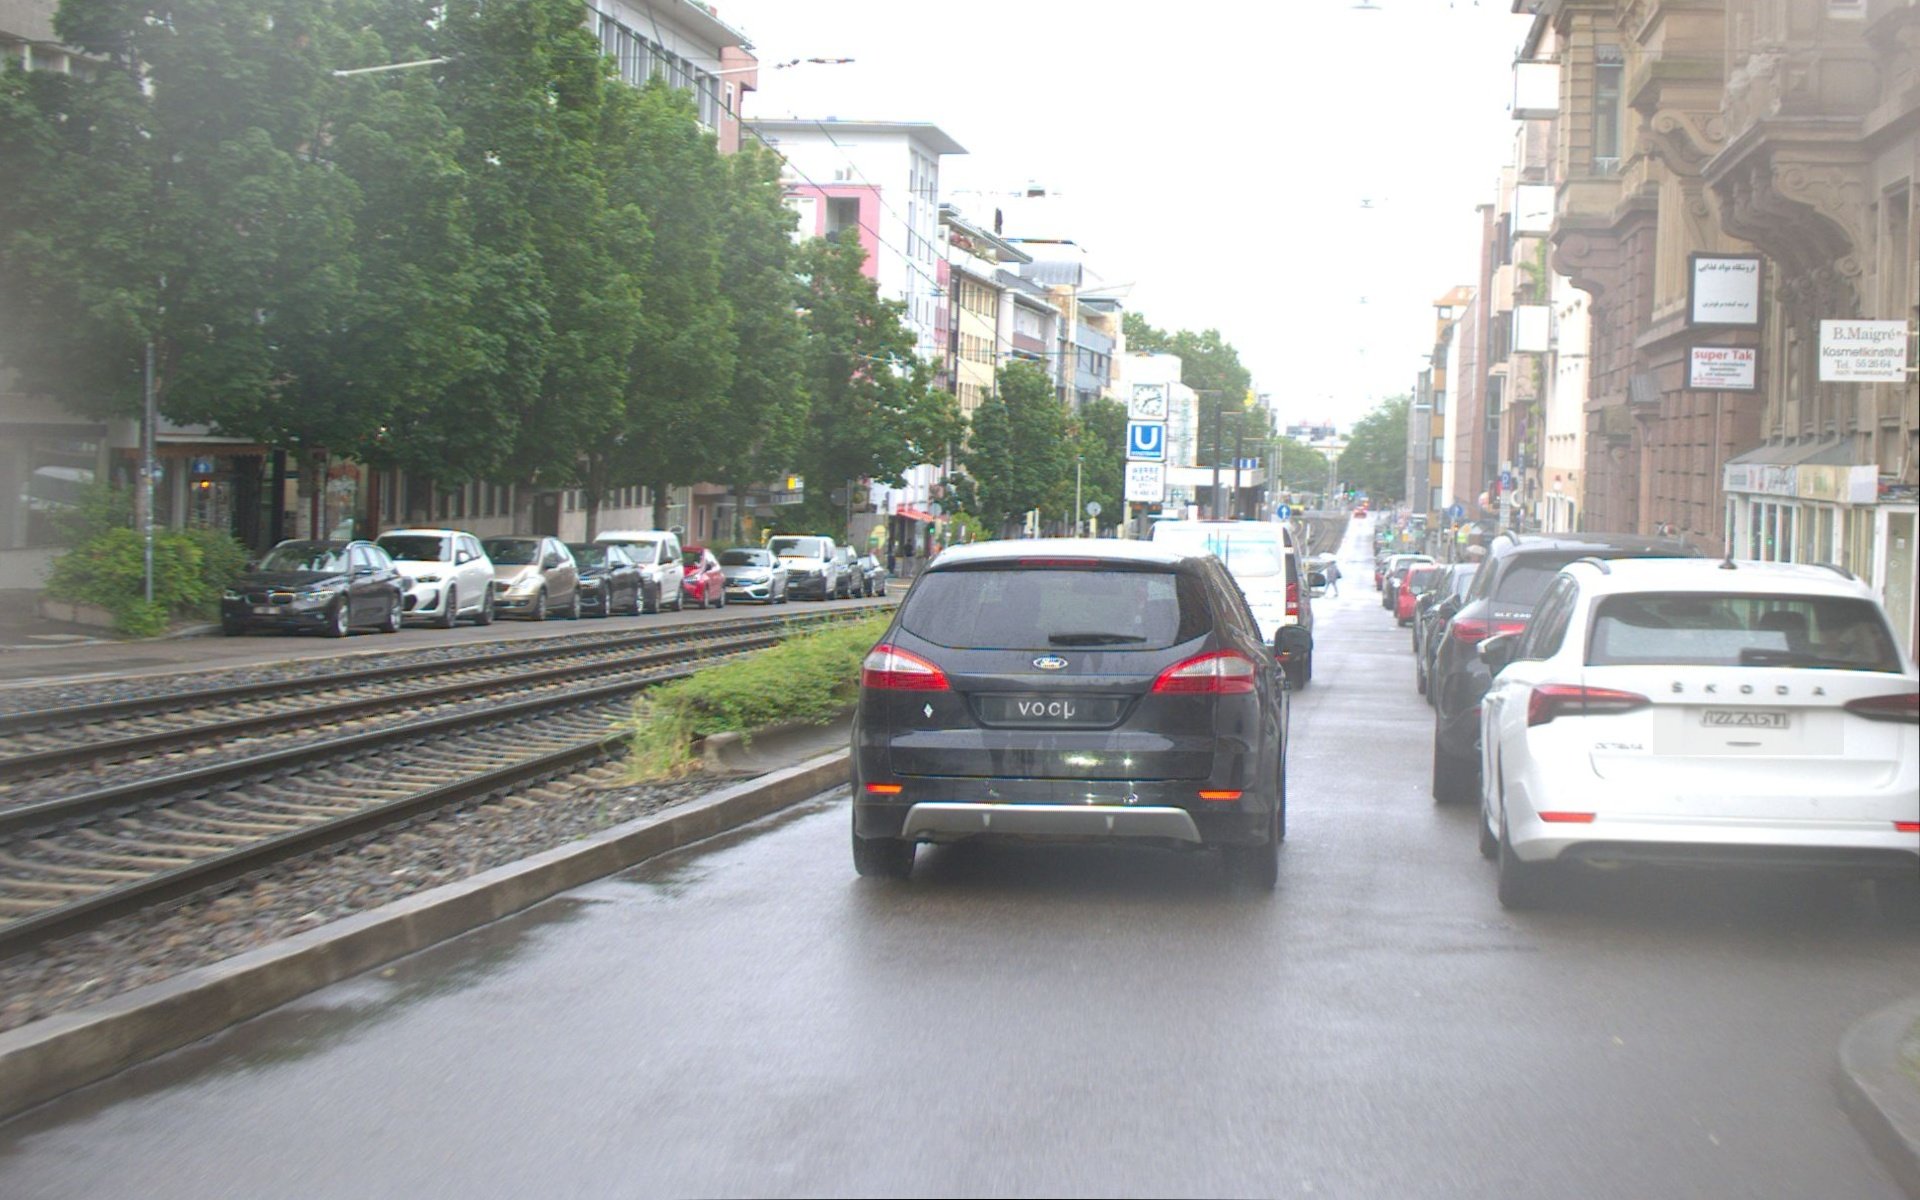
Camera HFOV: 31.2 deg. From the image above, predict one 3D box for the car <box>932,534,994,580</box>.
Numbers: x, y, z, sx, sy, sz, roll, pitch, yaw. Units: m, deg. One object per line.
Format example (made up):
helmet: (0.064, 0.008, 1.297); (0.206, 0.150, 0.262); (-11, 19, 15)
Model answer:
car: (0.130, -1.653, 134.331); (1.856, 1.631, 4.045); (3, 0, 7)

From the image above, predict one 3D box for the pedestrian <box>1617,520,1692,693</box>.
pedestrian: (7.425, 0.061, 36.779); (0.703, 1.813, 0.961); (-1, 2, 7)

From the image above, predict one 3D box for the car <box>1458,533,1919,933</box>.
car: (3.139, 0.505, 15.038); (1.802, 1.450, 4.585); (1, 0, 7)

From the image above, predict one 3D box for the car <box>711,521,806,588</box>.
car: (-5.160, -1.147, 88.371); (1.668, 1.553, 4.045); (3, 0, 7)

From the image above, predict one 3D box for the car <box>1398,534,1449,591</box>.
car: (16.062, -1.277, 119.193); (1.592, 1.775, 3.777); (4, 0, 7)

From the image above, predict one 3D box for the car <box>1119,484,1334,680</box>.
car: (3.126, -0.241, 39.460); (1.989, 2.053, 4.643); (2, 1, 10)

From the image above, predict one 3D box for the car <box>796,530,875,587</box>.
car: (-3.746, -1.237, 104.327); (1.695, 1.568, 4.045); (3, 0, 7)

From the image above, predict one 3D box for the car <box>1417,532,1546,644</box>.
car: (7.225, -0.177, 47.874); (1.650, 1.454, 3.475); (2, 1, 7)

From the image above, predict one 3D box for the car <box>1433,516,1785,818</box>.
car: (3.954, 0.387, 21.598); (1.846, 1.627, 4.585); (2, 0, 7)

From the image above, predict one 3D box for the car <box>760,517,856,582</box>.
car: (-4.305, -1.421, 97.951); (1.856, 1.631, 4.933); (3, 0, 7)

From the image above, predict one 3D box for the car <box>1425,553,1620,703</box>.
car: (5.781, 0.288, 35.731); (1.792, 1.402, 4.256); (2, 0, 7)

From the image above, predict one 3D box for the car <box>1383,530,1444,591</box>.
car: (14.959, -1.276, 113.356); (1.839, 1.775, 3.777); (4, 0, 7)

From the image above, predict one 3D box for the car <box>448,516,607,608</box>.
car: (-8.070, -0.686, 64.567); (1.856, 1.543, 4.430); (3, 0, 7)

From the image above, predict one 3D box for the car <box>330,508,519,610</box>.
car: (-9.013, -0.660, 58.236); (1.856, 1.543, 4.719); (3, 0, 7)

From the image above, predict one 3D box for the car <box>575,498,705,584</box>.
car: (-6.989, -1.265, 75.448); (1.856, 1.695, 4.430); (3, 0, 7)

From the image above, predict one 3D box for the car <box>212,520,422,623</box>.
car: (-9.638, -0.396, 51.901); (1.694, 1.373, 4.719); (3, -1, 7)

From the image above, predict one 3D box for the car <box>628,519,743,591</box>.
car: (-6.470, -1.039, 81.436); (1.856, 1.521, 4.045); (3, 0, 7)

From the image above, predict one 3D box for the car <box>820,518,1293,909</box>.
car: (0.547, 0.433, 15.587); (1.843, 1.502, 3.999); (1, 0, 5)

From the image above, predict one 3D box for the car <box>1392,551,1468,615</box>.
car: (11.051, -0.402, 80.915); (1.671, 1.416, 3.475); (1, 1, 7)

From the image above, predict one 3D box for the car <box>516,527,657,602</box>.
car: (-7.496, -0.694, 69.466); (1.856, 1.413, 4.430); (0, -1, 7)

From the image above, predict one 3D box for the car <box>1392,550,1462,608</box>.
car: (11.819, -0.534, 87.139); (1.671, 1.416, 3.475); (1, 1, 7)

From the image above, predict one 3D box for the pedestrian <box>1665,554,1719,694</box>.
pedestrian: (8.316, 0.274, 39.062); (0.519, 1.574, 0.677); (-1, -1, 7)
